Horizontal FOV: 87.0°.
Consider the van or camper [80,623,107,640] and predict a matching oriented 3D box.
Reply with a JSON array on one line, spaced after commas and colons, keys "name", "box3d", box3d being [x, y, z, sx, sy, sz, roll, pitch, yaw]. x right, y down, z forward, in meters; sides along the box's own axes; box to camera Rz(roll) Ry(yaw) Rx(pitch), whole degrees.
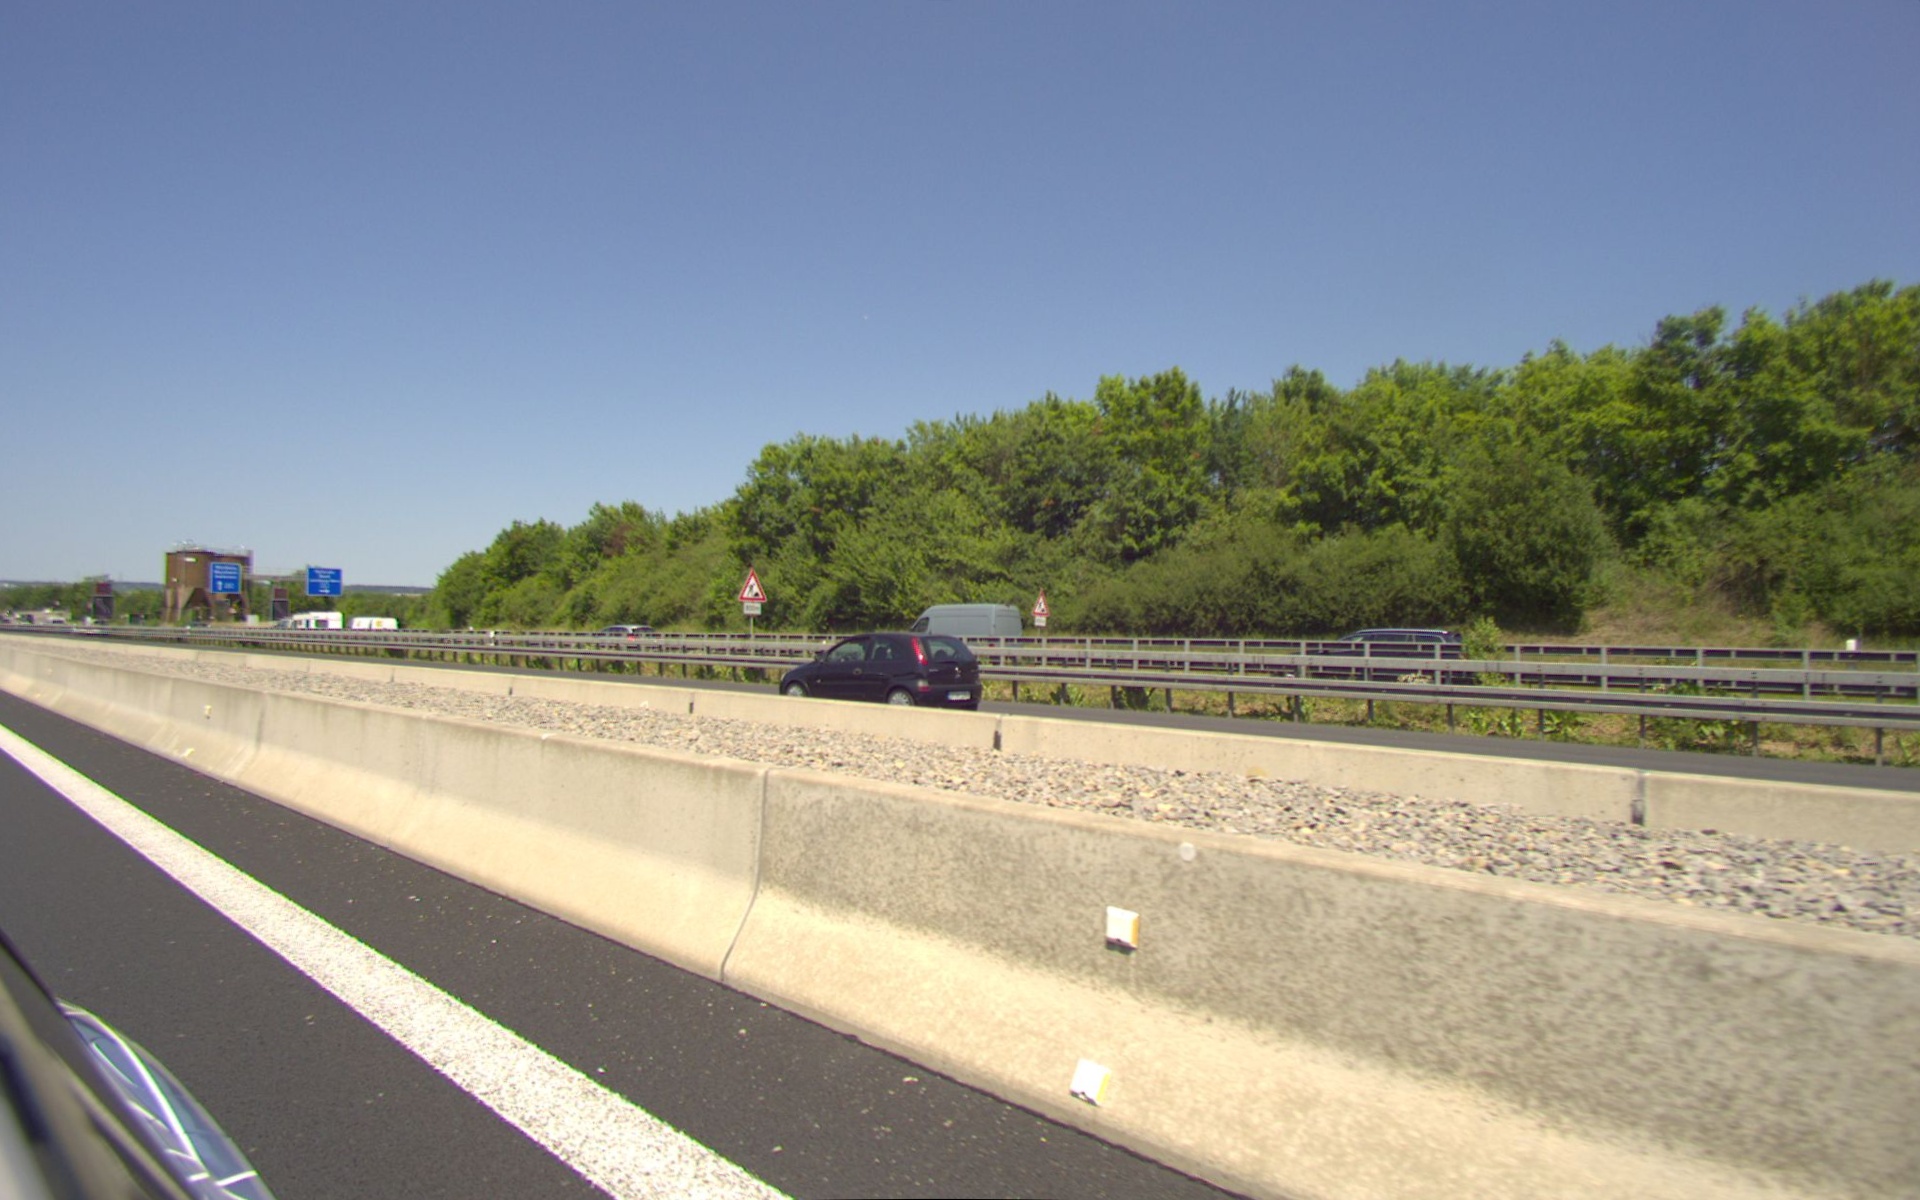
[{"name": "van or camper", "box3d": [-129.524, 4.697, 151.259, 6.964, 2.272, 2.085, 0, 0, 42]}]

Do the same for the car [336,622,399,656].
[{"name": "car", "box3d": [-38.049, 2.453, 64.935, 5.347, 2.029, 1.972, 0, 0, 42]}]

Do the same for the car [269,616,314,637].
[{"name": "car", "box3d": [-58.427, 2.302, 88.412, 4.812, 1.820, 1.973, -1, -3, 40]}]

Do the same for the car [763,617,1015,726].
[{"name": "car", "box3d": [-1.262, 1.066, 16.707, 4.159, 1.546, 1.814, -1, -1, 42]}]

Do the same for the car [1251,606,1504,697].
[{"name": "car", "box3d": [9.486, 1.102, 23.287, 5.036, 1.871, 1.972, -1, -2, 42]}]

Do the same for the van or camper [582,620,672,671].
[{"name": "van or camper", "box3d": [-14.558, 1.935, 44.114, 3.998, 2.029, 1.973, -1, 0, 41]}]

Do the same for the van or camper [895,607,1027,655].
[{"name": "van or camper", "box3d": [-0.044, 1.240, 41.007, 5.528, 1.812, 1.972, -1, -2, 43]}]

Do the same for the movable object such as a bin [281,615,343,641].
[{"name": "movable object such as a bin", "box3d": [-54.133, 2.265, 84.535, 6.775, 2.029, 2.482, 0, 0, 40]}]
